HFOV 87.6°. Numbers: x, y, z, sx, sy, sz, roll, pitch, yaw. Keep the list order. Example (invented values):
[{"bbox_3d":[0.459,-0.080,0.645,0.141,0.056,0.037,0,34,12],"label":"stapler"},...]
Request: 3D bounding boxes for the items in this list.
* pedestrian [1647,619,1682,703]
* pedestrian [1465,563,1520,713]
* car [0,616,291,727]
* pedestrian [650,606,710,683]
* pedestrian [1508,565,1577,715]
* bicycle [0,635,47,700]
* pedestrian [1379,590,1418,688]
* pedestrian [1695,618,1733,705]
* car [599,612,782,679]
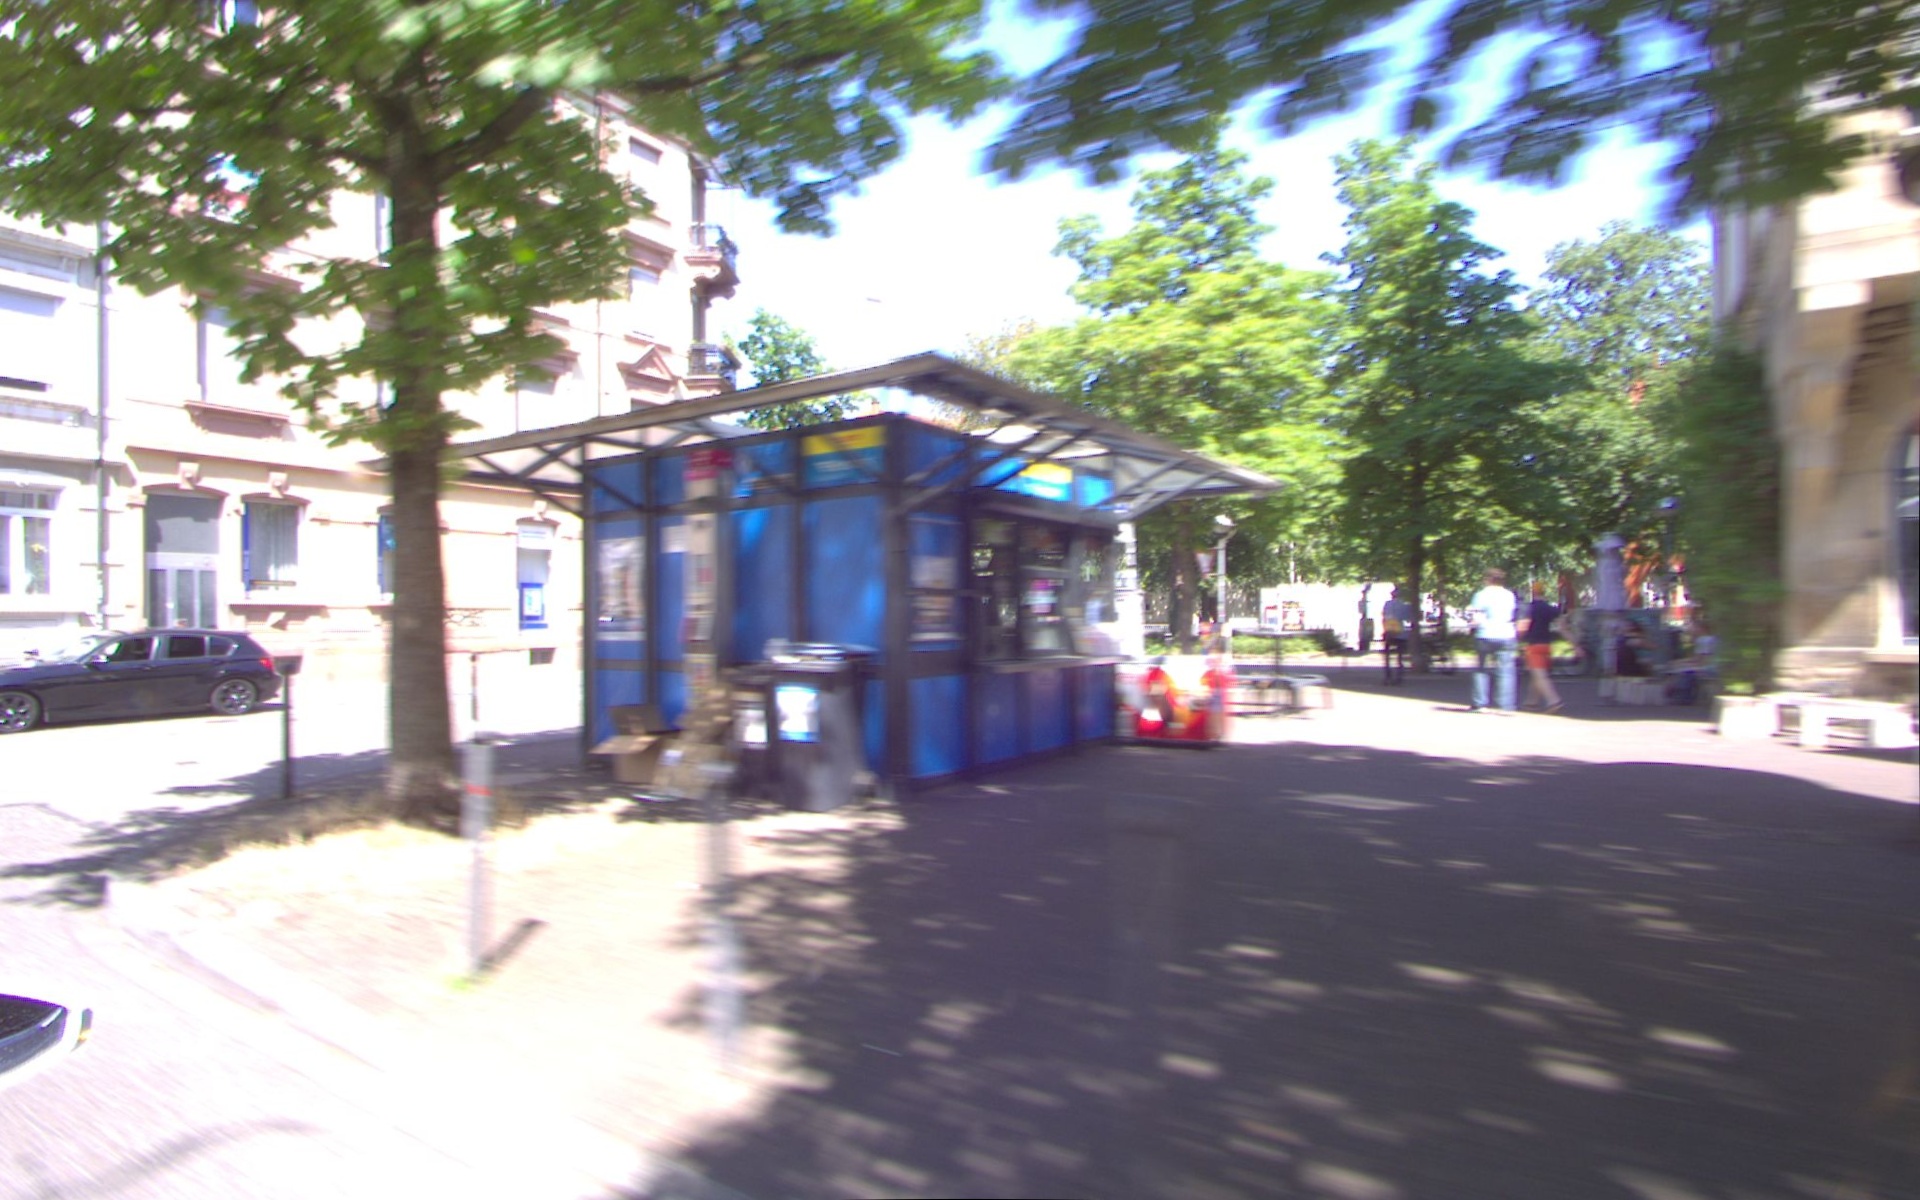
[{"bbox_3d":[10.284,0.876,14.626,0.408,1.198,0.442,-1,0,35],"label":"pedestrian"},{"bbox_3d":[6.936,0.492,13.073,0.511,1.893,0.652,-1,0,19],"label":"pedestrian"},{"bbox_3d":[-12.952,0.999,15.241,1.781,1.389,4.283,2,1,33],"label":"car"},{"bbox_3d":[-7.699,1.202,27.576,1.036,2.040,1.226,-1,0,25],"label":"pedestrian"},{"bbox_3d":[7.657,0.515,13.192,0.590,1.904,0.881,-1,0,18],"label":"pedestrian"},{"bbox_3d":[-16.374,1.137,16.441,0.417,1.035,2.001,3,2,31],"label":"bicycle"},{"bbox_3d":[8.388,0.736,19.176,0.594,1.836,0.587,-1,0,18],"label":"pedestrian"},{"bbox_3d":[10.765,0.866,14.303,0.408,1.198,0.442,-1,0,35],"label":"pedestrian"},{"bbox_3d":[-6.655,1.066,25.216,1.781,1.475,4.411,0,0,33],"label":"car"}]
